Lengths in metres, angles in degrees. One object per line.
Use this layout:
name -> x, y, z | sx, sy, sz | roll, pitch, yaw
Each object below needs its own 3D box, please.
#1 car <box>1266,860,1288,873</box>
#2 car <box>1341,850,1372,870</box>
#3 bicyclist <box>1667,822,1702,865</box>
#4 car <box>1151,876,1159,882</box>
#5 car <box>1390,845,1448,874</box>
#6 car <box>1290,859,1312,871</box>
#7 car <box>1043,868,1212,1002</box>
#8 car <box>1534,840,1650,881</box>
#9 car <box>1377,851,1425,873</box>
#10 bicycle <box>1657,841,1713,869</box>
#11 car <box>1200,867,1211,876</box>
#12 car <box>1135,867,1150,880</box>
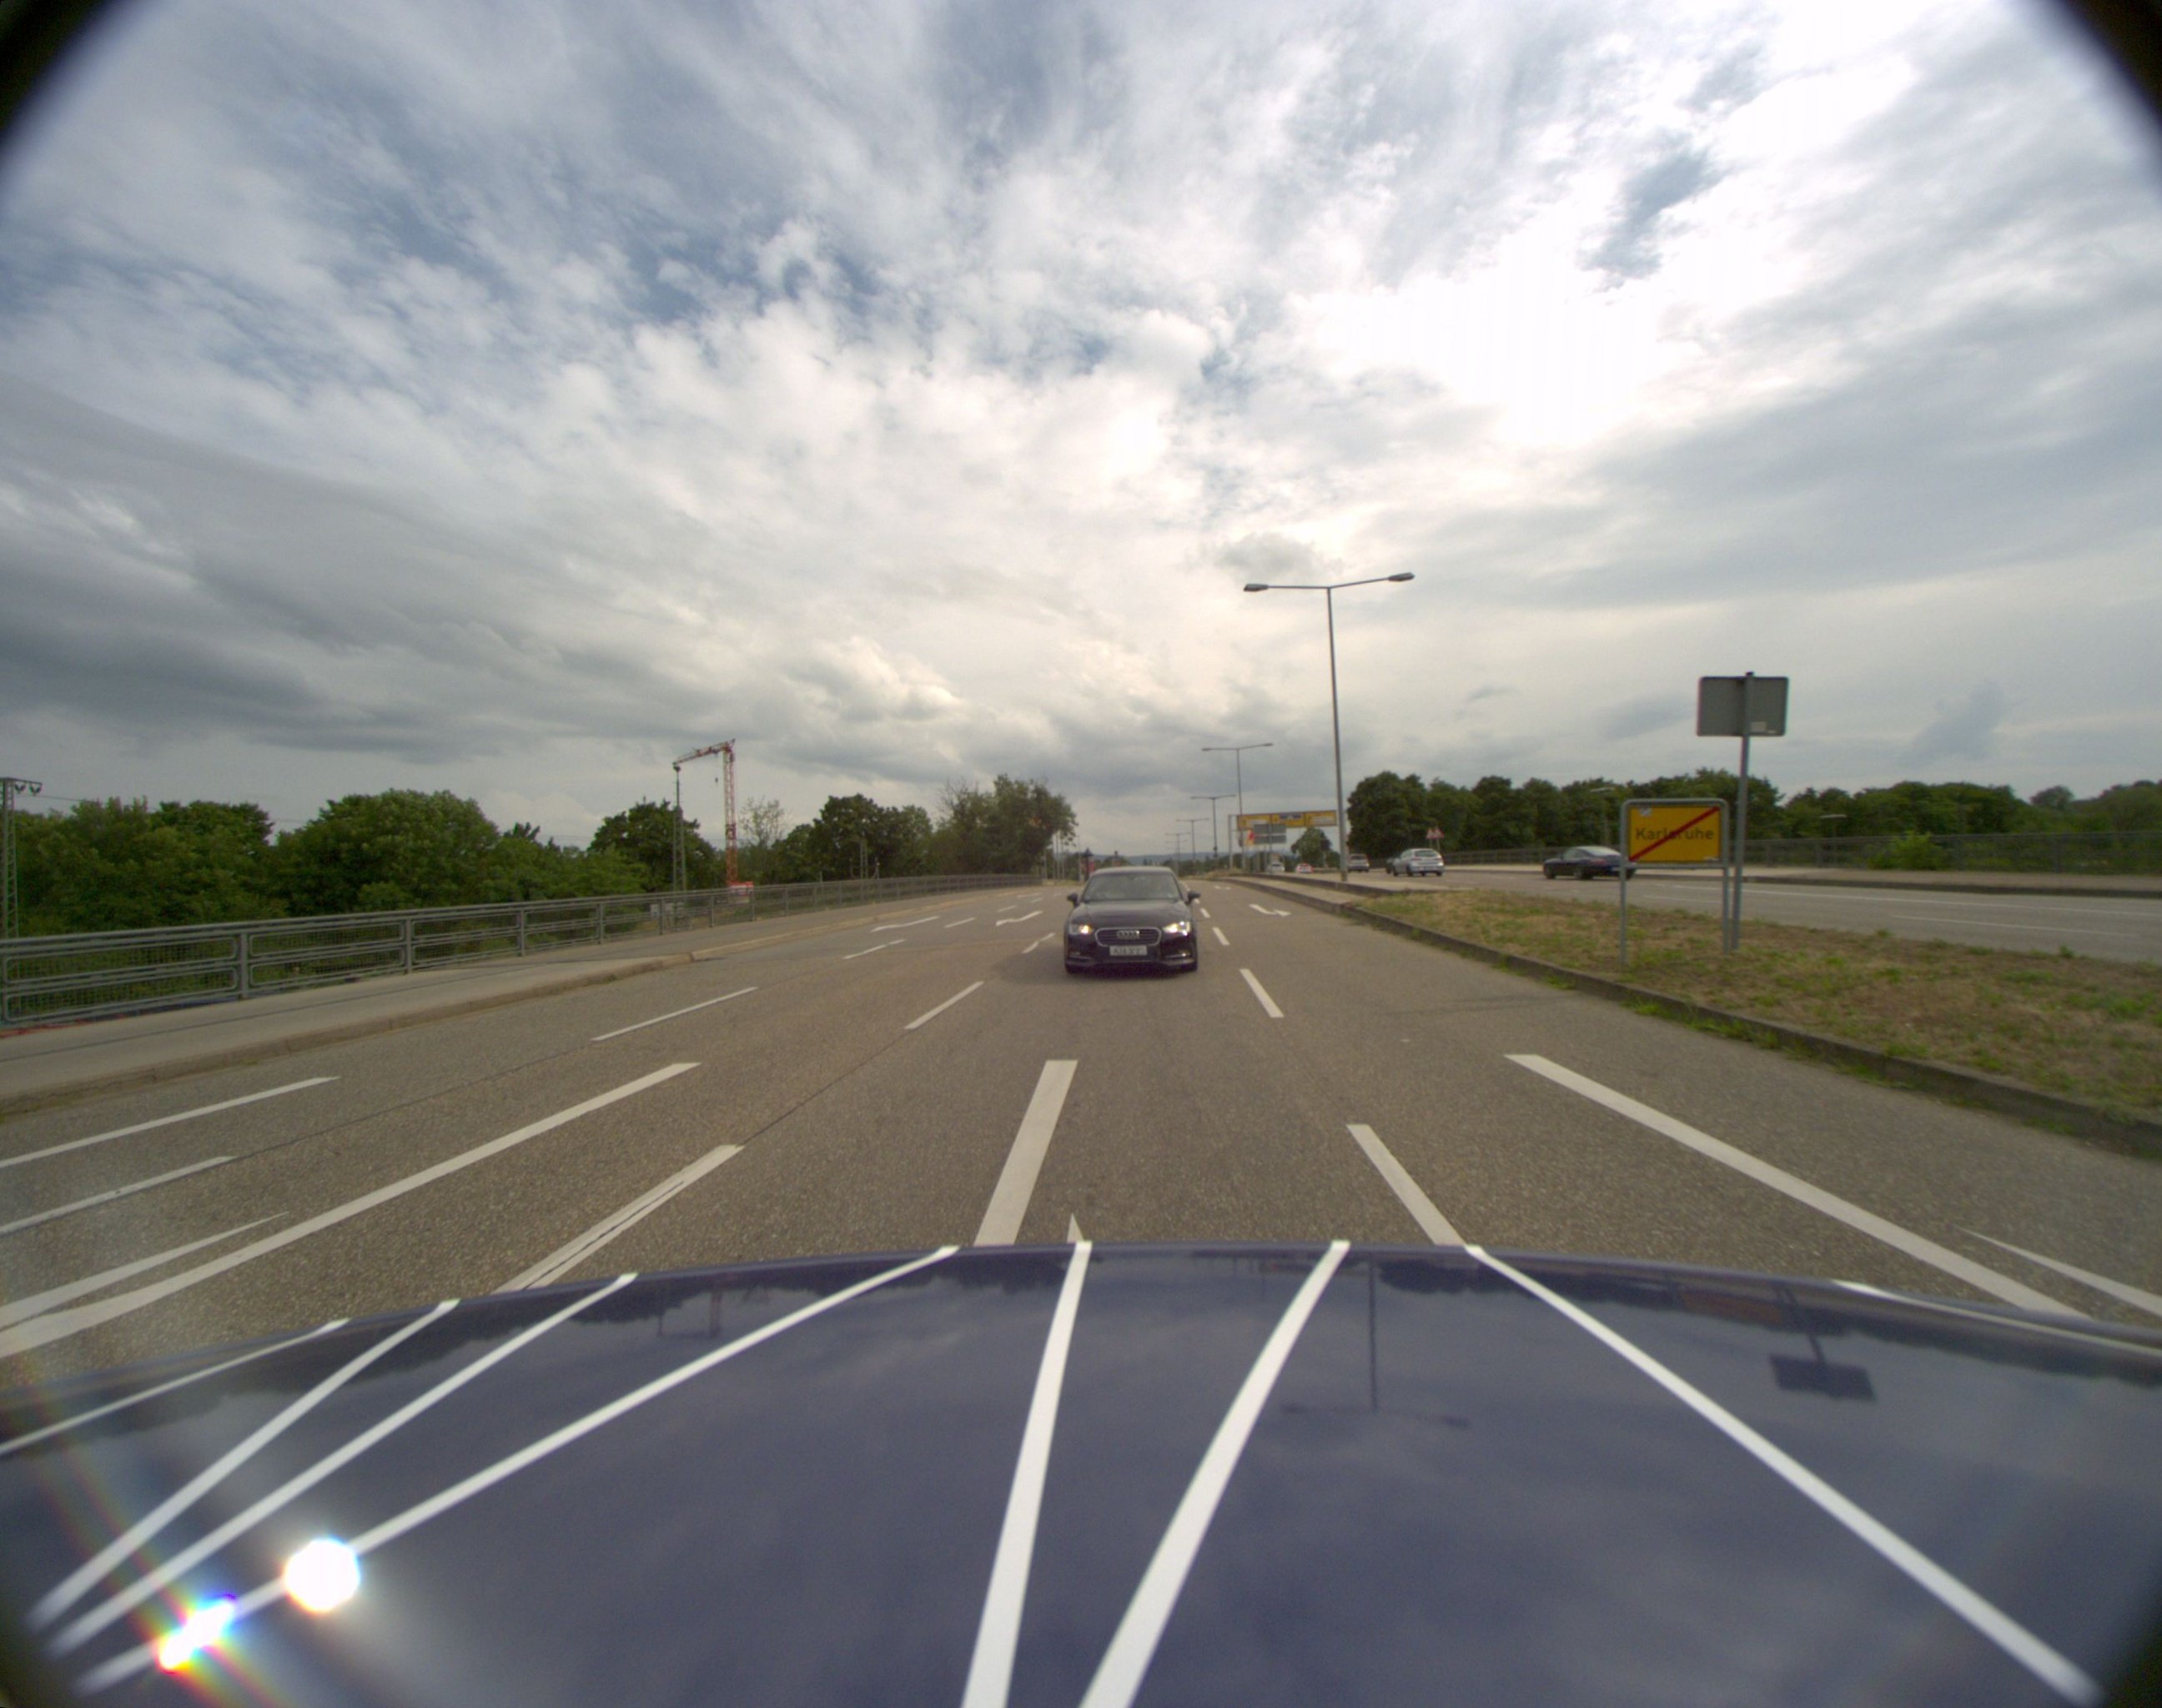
car -> 22.865, 1.424, 88.715 | 1.812, 1.407, 4.031 | -2, 0, 4
car -> 23.047, 0.482, 63.625 | 1.745, 1.649, 4.082 | -1, 0, 10
bicyclist -> 24.134, -0.420, 30.381 | 0.686, 1.662, 0.847 | -3, 0, 3
car -> 19.110, 6.484, 196.368 | 1.860, 1.335, 4.002 | -2, 0, 6
car -> 17.603, 0.279, 39.746 | 1.619, 1.402, 3.862 | -1, 0, 6
car -> 27.638, 1.412, 95.545 | 1.922, 1.407, 4.884 | -1, -1, 7
car -> 0.766, 0.969, 10.931 | 1.852, 1.355, 4.731 | -2, 0, 6
car -> 19.806, 0.235, 29.695 | 1.825, 1.438, 4.354 | -2, 0, 4
car -> 21.015, 0.488, 50.053 | 1.745, 1.402, 3.878 | -1, 0, 5
bicycle -> 24.147, 0.039, 30.431 | 0.686, 1.047, 1.995 | -3, 0, 3
car -> 24.501, 3.443, 149.172 | 1.891, 1.630, 4.588 | -2, -1, 7
car -> 8.918, 2.813, 109.954 | 1.725, 1.512, 3.952 | -4, 0, 8
